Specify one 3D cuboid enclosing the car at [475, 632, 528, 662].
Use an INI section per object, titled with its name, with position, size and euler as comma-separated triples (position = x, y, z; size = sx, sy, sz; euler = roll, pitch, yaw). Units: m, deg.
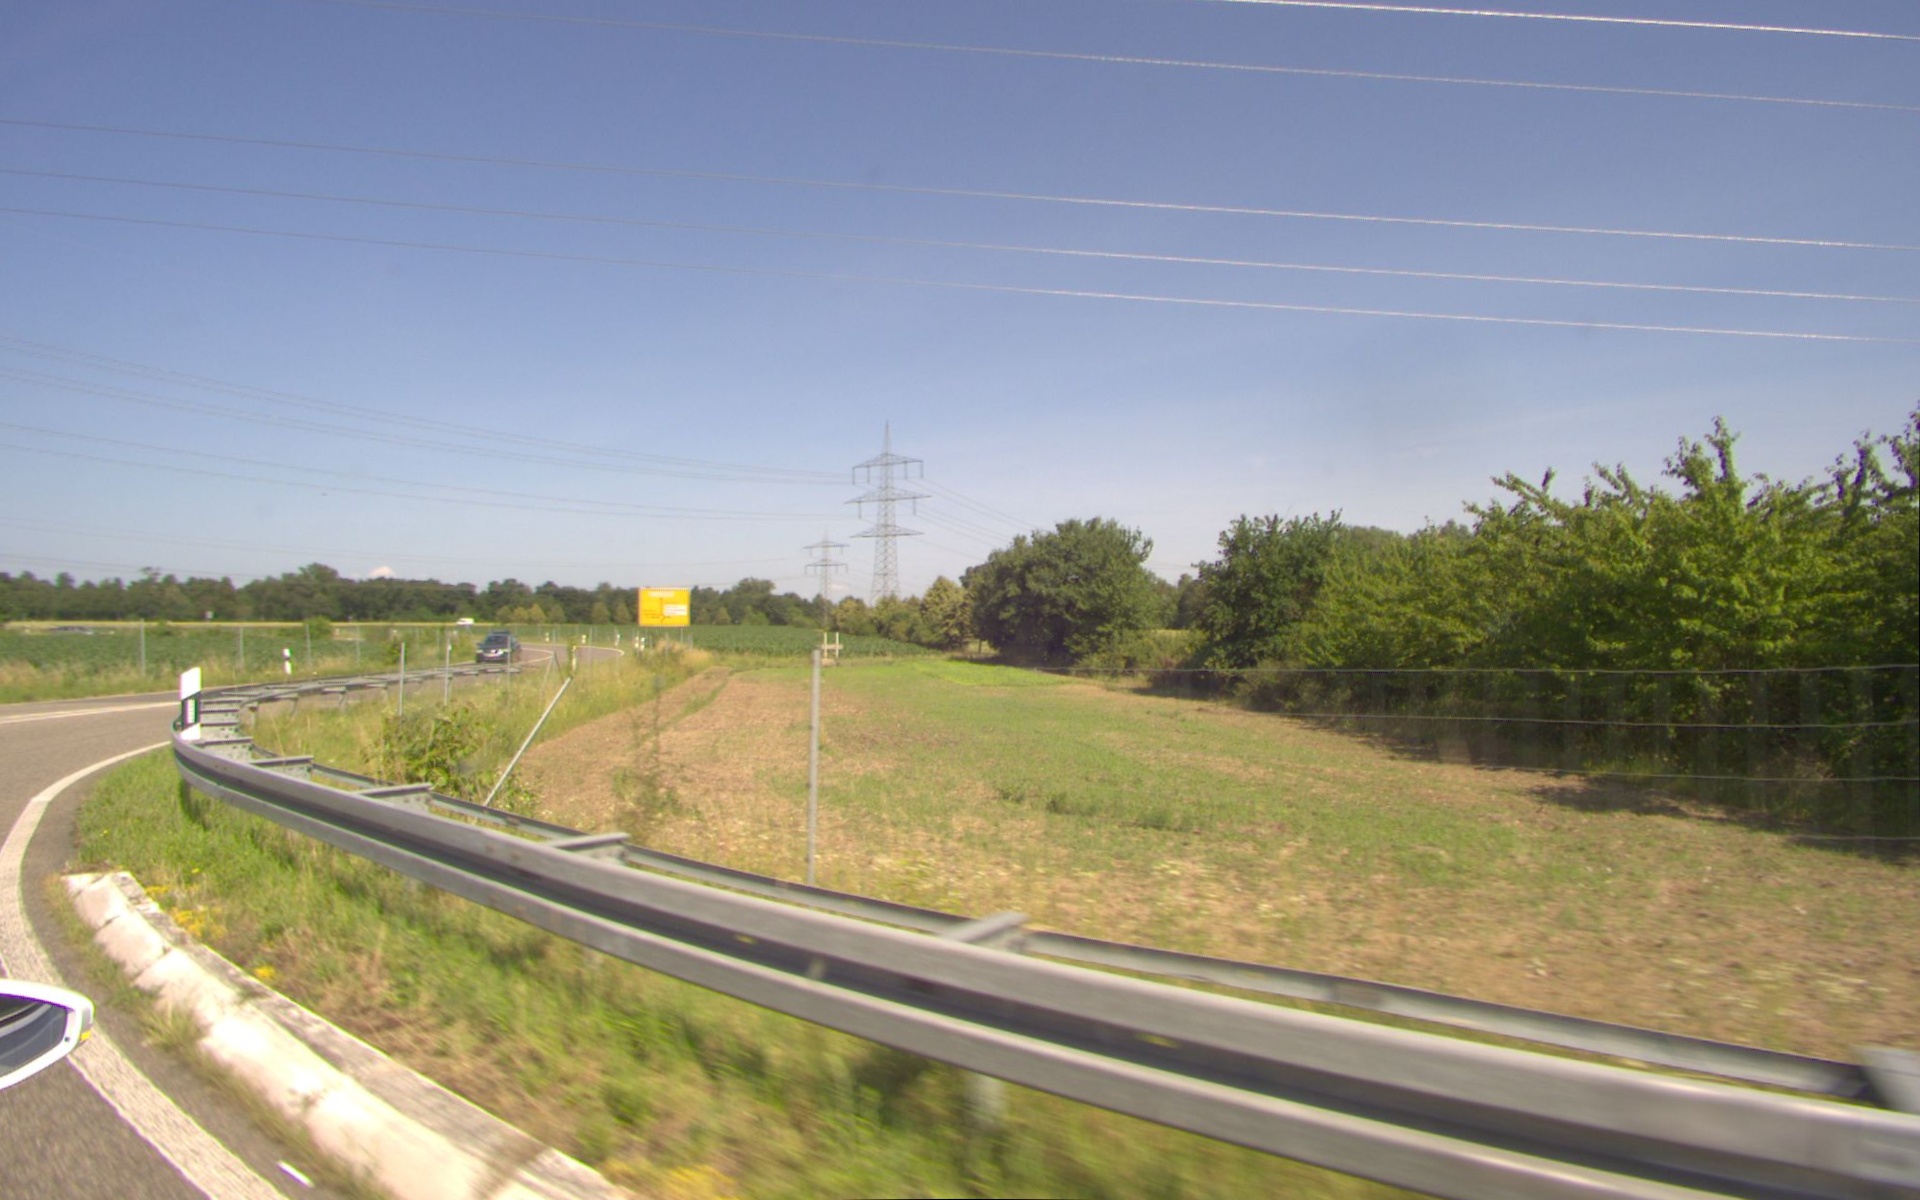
[car]
position = -23.739, 2.415, 51.958
size = 1.749, 1.475, 4.586
euler = 1, -2, -15
